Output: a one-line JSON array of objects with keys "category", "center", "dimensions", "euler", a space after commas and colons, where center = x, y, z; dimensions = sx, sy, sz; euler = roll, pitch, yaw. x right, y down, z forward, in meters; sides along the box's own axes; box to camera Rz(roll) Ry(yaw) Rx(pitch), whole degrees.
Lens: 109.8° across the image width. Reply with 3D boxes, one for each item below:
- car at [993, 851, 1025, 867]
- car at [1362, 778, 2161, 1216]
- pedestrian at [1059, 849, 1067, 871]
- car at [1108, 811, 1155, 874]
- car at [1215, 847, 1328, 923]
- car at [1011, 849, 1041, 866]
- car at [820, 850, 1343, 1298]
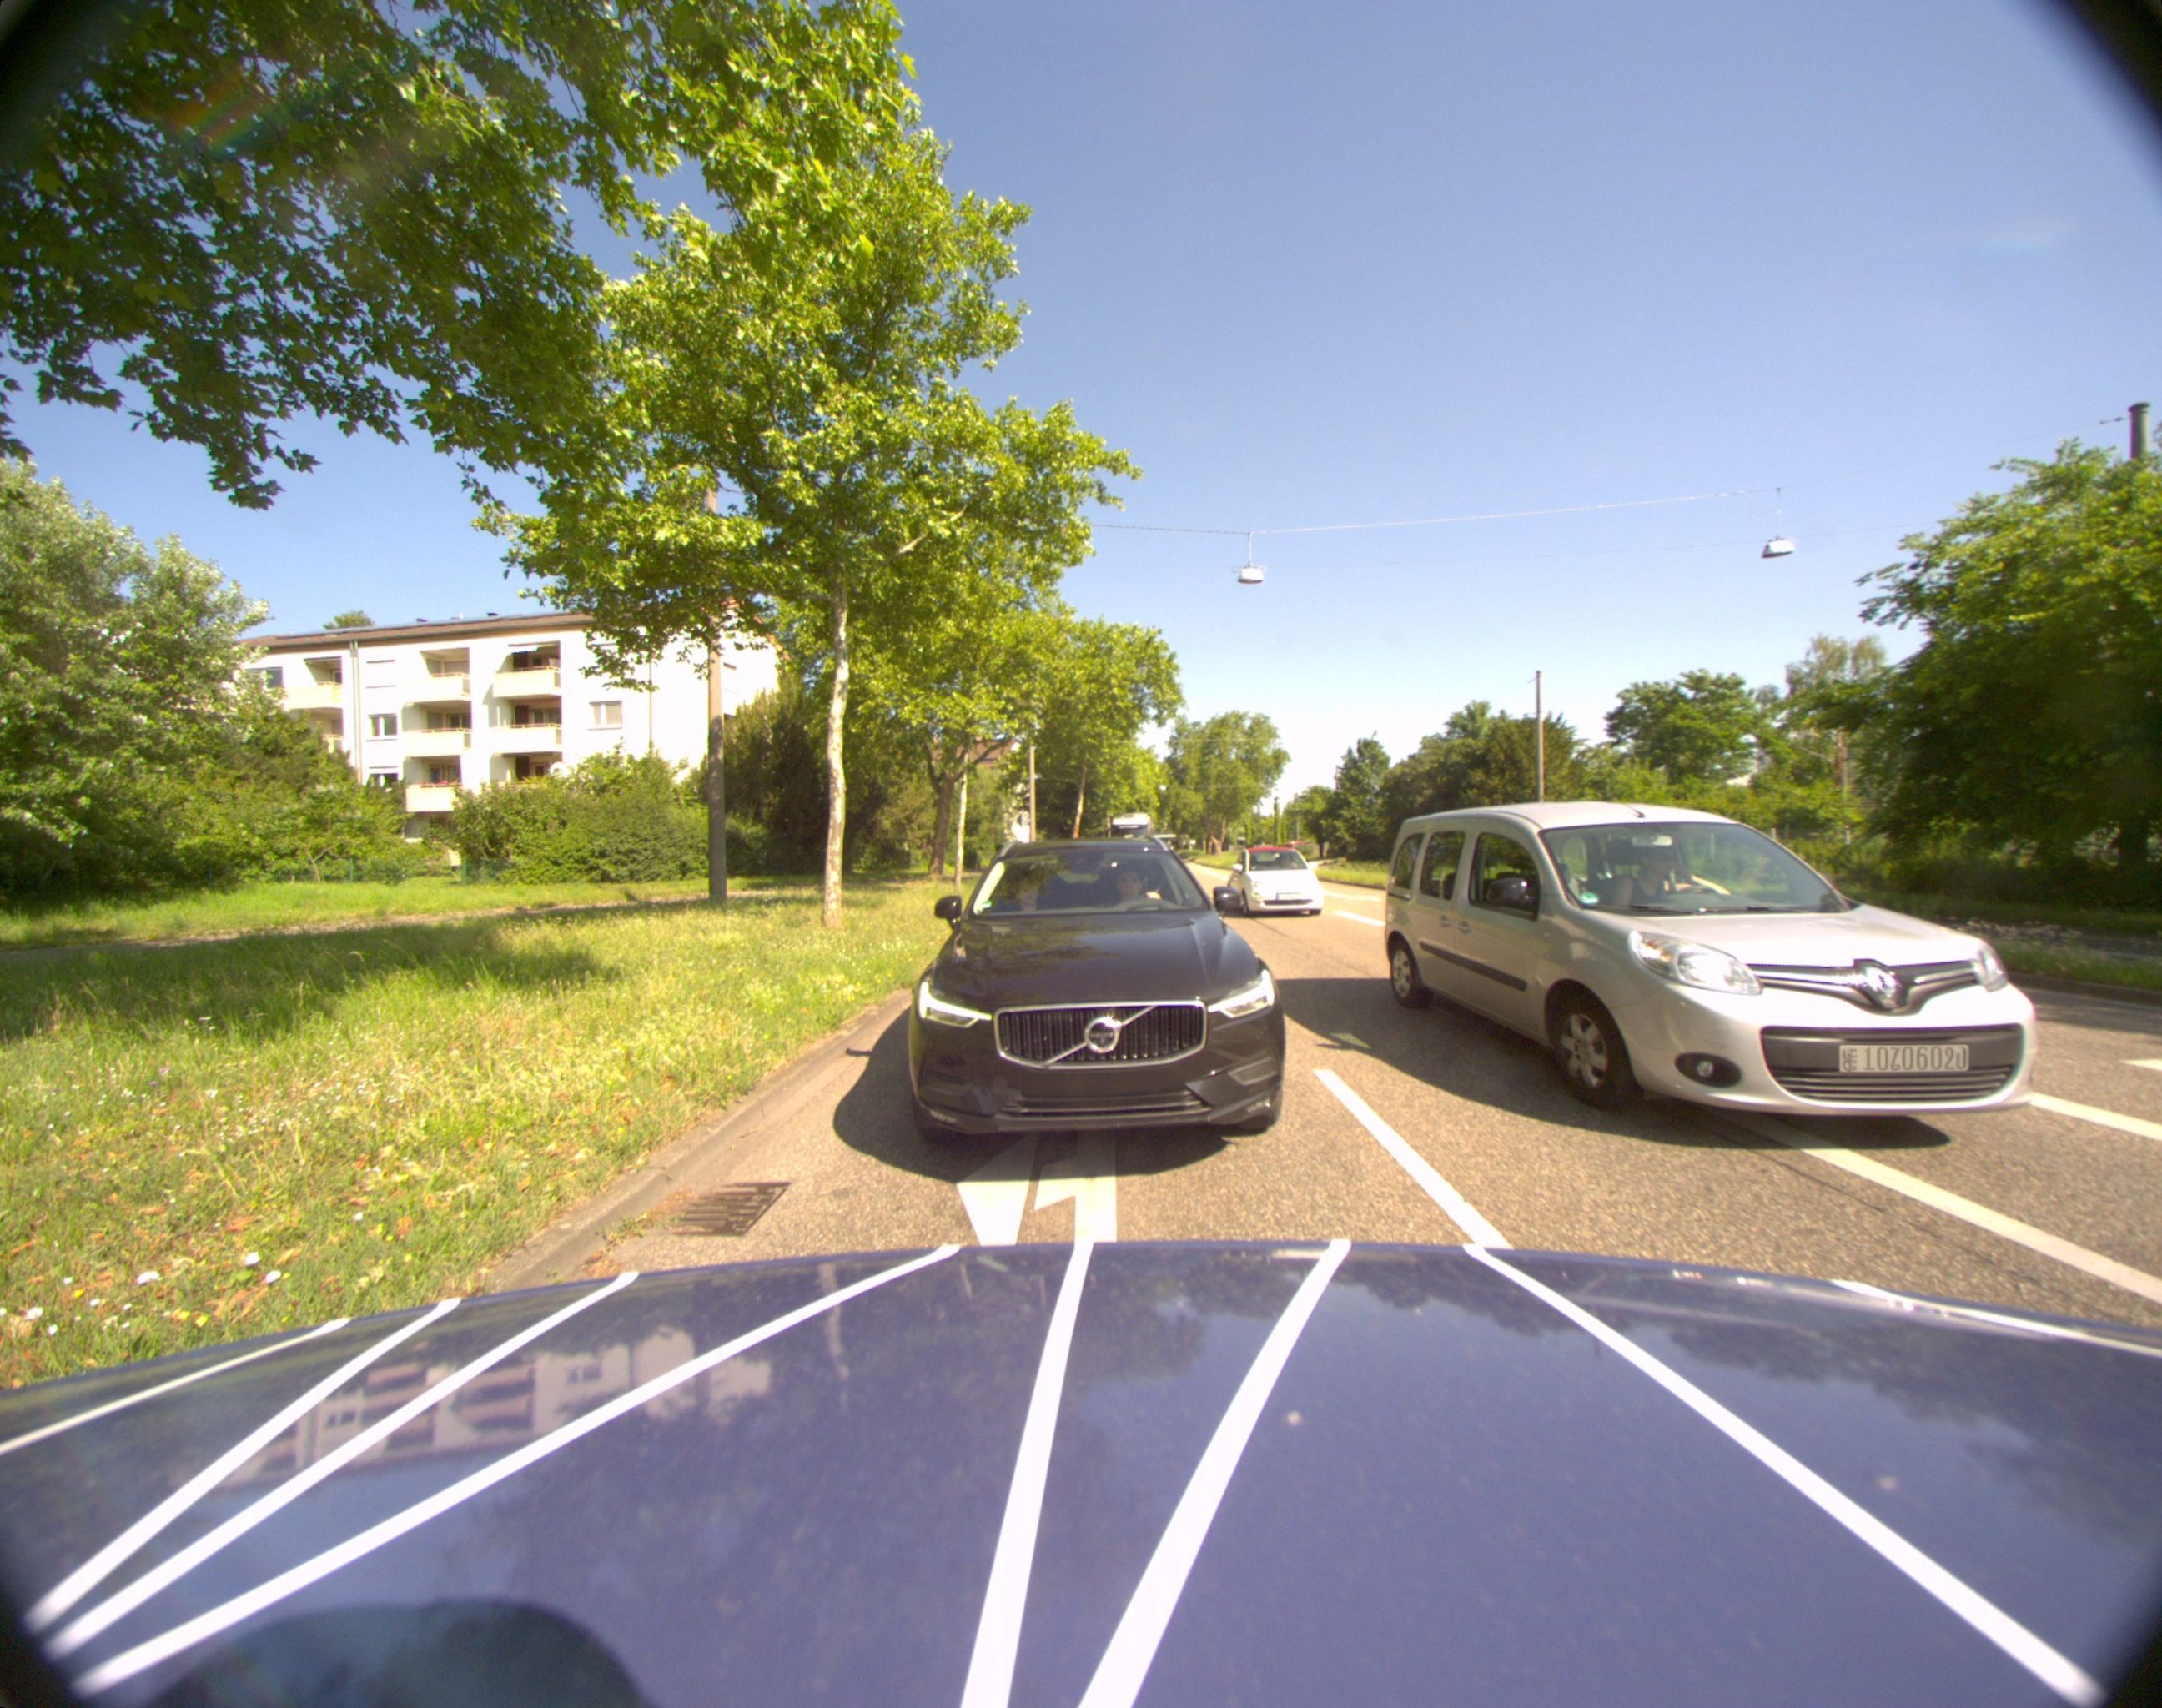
[{"category": "car", "center": [-6.464, 0.416, 68.536], "dimensions": [1.504, 1.364, 4.094], "euler": [0, 1, 17]}, {"category": "car", "center": [3.671, 0.591, 5.386], "dimensions": [1.876, 1.829, 4.375], "euler": [-1, 1, 2]}, {"category": "pedestrian", "center": [-1.658, 0.530, 70.783], "dimensions": [0.639, 2.002, 0.480], "euler": [0, 1, 10]}, {"category": "car", "center": [3.227, -0.743, 50.191], "dimensions": [2.902, 3.898, 7.141], "euler": [0, 1, 2]}, {"category": "car", "center": [4.314, 0.630, 17.833], "dimensions": [1.689, 1.482, 4.376], "euler": [-3, 1, 3]}, {"category": "car", "center": [-5.321, 0.322, 73.831], "dimensions": [1.504, 1.633, 4.094], "euler": [0, 1, 17]}, {"category": "car", "center": [0.037, 0.812, 5.265], "dimensions": [1.904, 1.606, 4.872], "euler": [-2, 1, 1]}]
